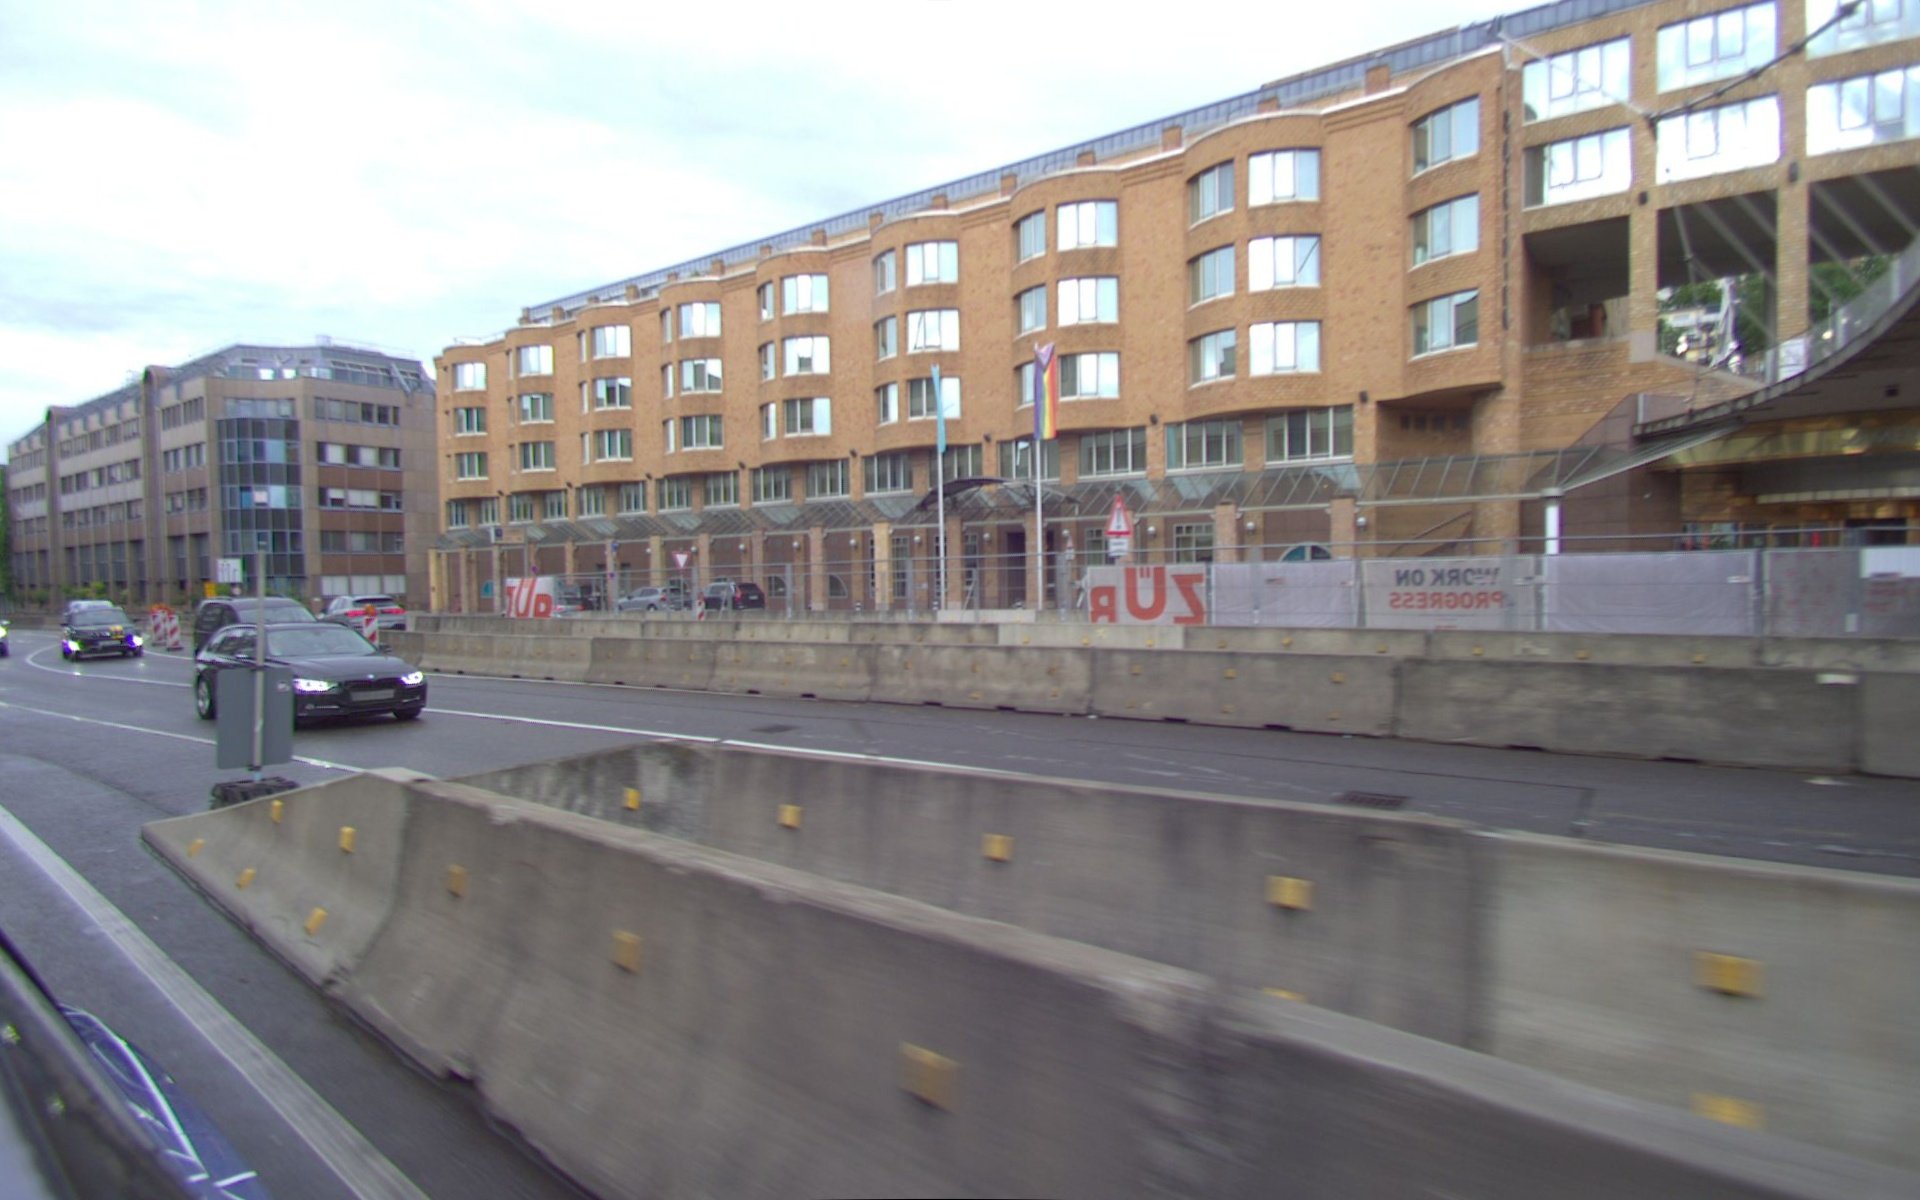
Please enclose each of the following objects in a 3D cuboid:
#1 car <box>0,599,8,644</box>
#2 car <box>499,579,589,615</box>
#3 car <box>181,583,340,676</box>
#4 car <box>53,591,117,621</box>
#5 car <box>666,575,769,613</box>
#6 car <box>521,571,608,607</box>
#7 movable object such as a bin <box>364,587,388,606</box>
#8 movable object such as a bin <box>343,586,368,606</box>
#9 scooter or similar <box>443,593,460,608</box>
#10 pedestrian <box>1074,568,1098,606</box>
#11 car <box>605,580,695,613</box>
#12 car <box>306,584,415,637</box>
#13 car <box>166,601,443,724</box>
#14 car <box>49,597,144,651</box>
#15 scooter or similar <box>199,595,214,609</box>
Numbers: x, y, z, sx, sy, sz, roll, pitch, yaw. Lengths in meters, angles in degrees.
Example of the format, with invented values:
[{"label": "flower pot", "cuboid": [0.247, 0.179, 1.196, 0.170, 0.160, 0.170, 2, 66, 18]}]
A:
[{"label": "car", "cuboid": [-35.125, 0.780, 35.811, 4.656, 1.545, 1.748, 0, 2, 43]}, {"label": "car", "cuboid": [-18.818, -0.142, 45.750, 4.355, 1.537, 1.744, 0, 1, 36]}, {"label": "car", "cuboid": [-15.559, 0.580, 22.436, 4.247, 1.814, 1.776, 0, 2, 40]}, {"label": "car", "cuboid": [-58.686, 0.392, 67.892, 4.856, 1.899, 1.978, 0, 2, 34]}, {"label": "car", "cuboid": [-11.768, -0.265, 48.969, 5.038, 1.703, 1.977, -1, 2, 35]}, {"label": "car", "cuboid": [-22.154, -0.612, 56.626, 5.001, 1.900, 1.977, -1, 2, 34]}, {"label": "movable object such as a bin", "cuboid": [-46.825, -0.275, 81.130, 1.348, 1.491, 1.232, 0, 2, 36]}, {"label": "movable object such as a bin", "cuboid": [-47.491, -0.306, 79.544, 1.348, 1.491, 1.232, 0, 2, 37]}, {"label": "scooter or similar", "cuboid": [-35.728, 0.042, 71.119, 1.038, 1.071, 0.447, -1, 1, 23]}, {"label": "pedestrian", "cuboid": [5.009, -0.517, 40.345, 0.736, 1.463, 0.610, 0, 0, 39]}, {"label": "car", "cuboid": [-16.044, -0.180, 52.275, 4.527, 1.605, 1.978, -1, 2, 33]}, {"label": "car", "cuboid": [-20.141, 0.340, 33.938, 4.704, 1.635, 1.971, -1, 1, 44]}, {"label": "car", "cuboid": [-9.542, 0.787, 14.603, 4.646, 1.454, 1.753, 0, 2, 36]}, {"label": "car", "cuboid": [-27.727, 0.710, 32.454, 4.355, 1.545, 1.749, 0, 2, 42]}, {"label": "scooter or similar", "cuboid": [-55.931, 0.155, 75.095, 1.039, 1.071, 0.446, -1, 1, 25]}]
